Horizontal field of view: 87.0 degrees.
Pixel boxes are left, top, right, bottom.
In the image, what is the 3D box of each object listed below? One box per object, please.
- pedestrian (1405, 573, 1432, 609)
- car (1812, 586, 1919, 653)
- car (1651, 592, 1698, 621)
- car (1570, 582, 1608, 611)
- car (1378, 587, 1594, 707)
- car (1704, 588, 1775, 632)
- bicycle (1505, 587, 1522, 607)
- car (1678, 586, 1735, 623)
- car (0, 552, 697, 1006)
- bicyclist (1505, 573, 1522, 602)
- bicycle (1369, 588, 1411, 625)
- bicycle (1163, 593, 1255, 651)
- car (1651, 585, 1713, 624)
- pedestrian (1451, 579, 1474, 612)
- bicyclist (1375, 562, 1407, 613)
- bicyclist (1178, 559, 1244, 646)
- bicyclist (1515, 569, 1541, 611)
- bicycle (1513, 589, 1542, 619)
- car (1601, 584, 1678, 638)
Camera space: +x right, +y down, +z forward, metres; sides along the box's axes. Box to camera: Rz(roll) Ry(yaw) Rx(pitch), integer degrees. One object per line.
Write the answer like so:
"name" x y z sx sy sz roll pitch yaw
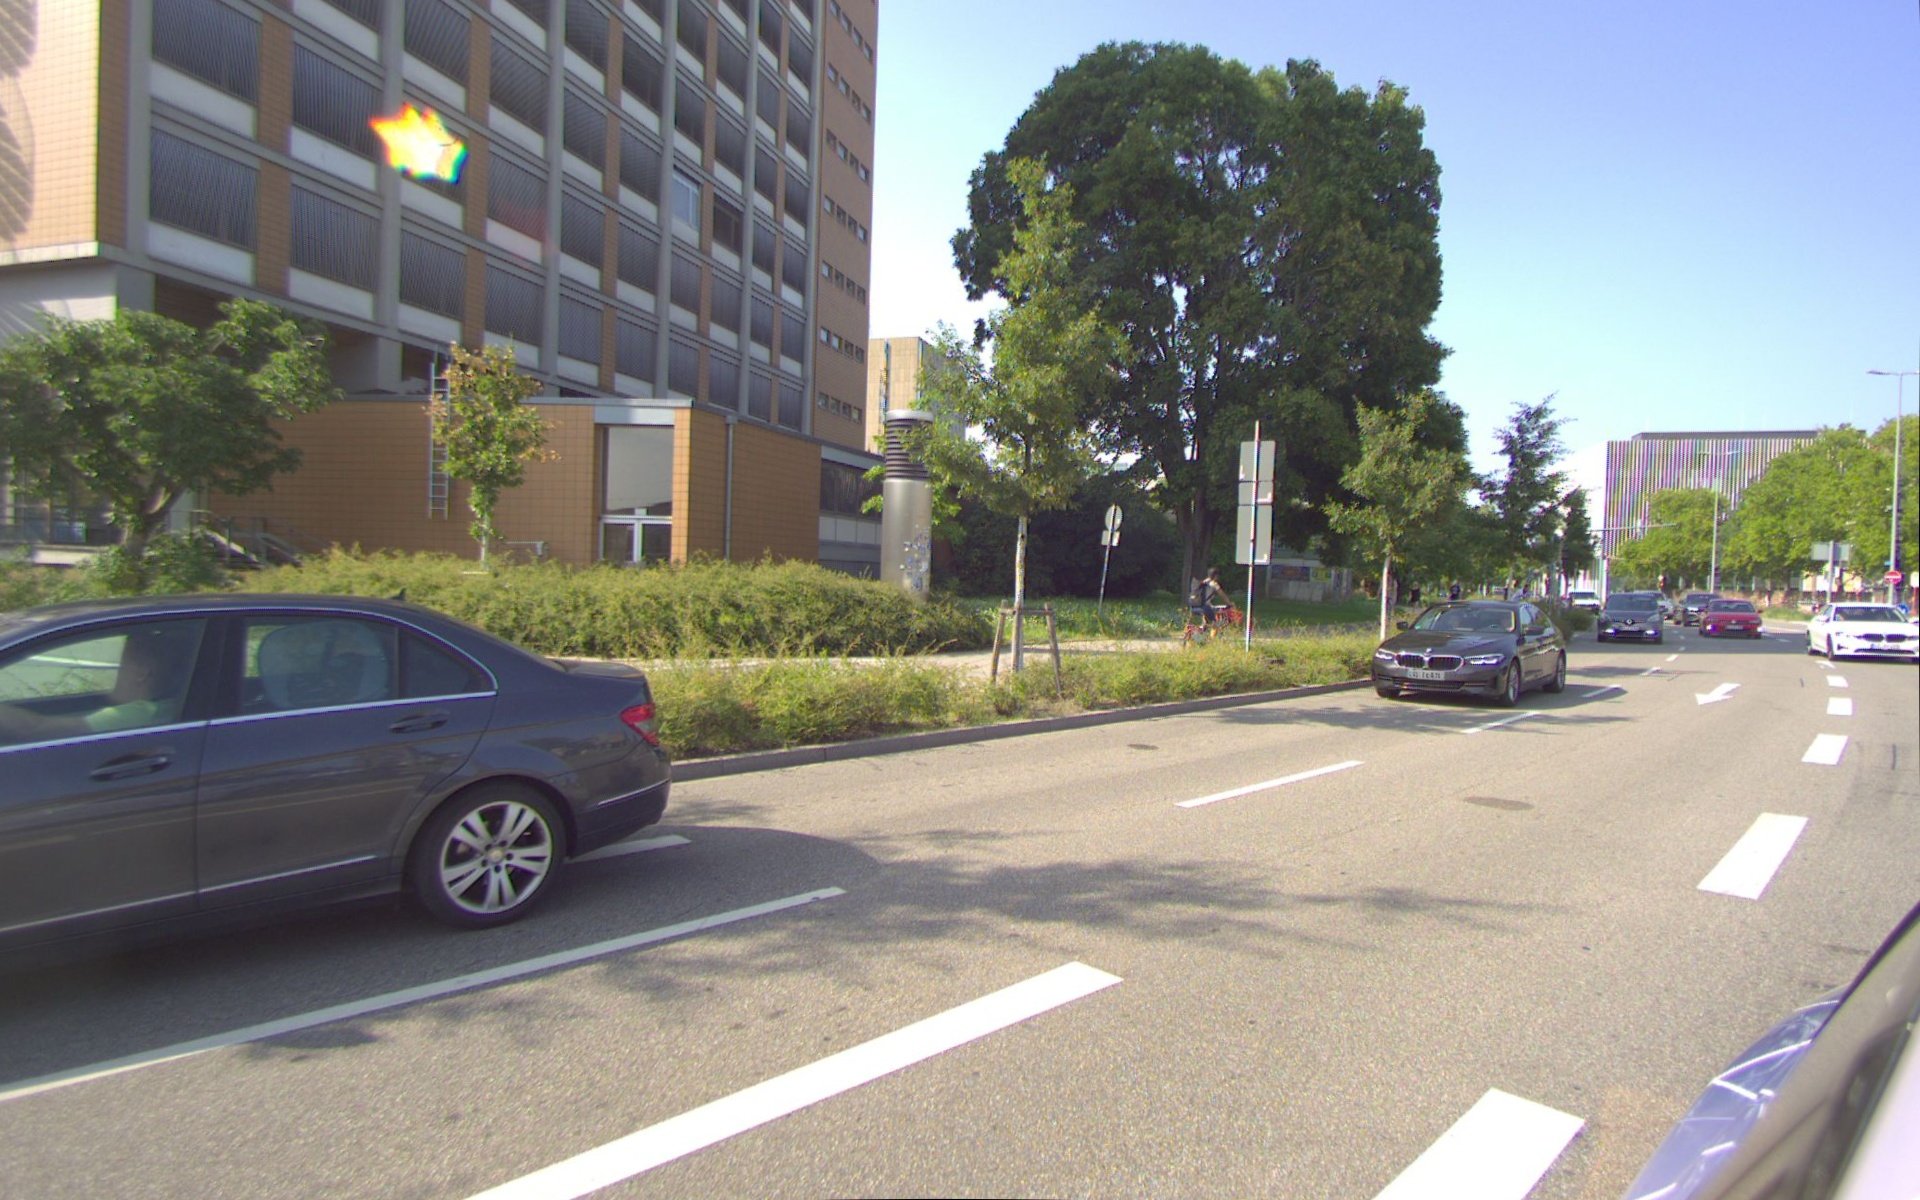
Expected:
"pedestrian" 18.798 -0.364 41.495 0.725 1.461 0.844 3 2 44
"car" 23.180 0.429 25.661 1.771 1.501 4.481 2 2 32
"car" 44.614 0.449 63.274 1.767 1.742 4.488 -1 -1 28
"car" 44.253 -0.272 71.271 1.671 1.966 4.334 2 2 25
"car" 8.165 0.613 15.489 1.683 1.510 4.599 3 2 43
"car" 29.415 0.348 38.275 1.676 1.510 4.321 3 2 32
"bicycle" 32.860 -0.165 60.104 0.766 1.131 2.282 2 1 27
"car" 37.539 0.207 50.997 1.769 1.713 4.485 2 2 30
"car" -3.426 0.549 4.078 4.300 1.460 1.684 1 1 -44
"bicyclist" 32.878 -0.735 60.121 0.766 1.697 0.915 2 1 27
"bicycle" 13.865 0.190 32.591 0.768 1.131 2.275 2 1 35
"bicycle" 4.566 0.379 18.490 1.889 0.971 0.720 0 2 -43
"car" 32.280 0.217 45.336 1.926 1.627 4.481 1 0 32
"pedestrian" 28.407 -0.253 57.233 0.954 1.804 0.991 5 3 33
"bicyclist" 13.890 -0.398 32.598 0.769 1.613 0.912 2 1 35
"bicyclist" 4.583 0.029 18.491 0.987 1.531 0.720 0 2 -43
"bicyclist" 22.706 -0.398 40.449 0.769 1.612 0.912 3 1 35
"bicycle" 22.692 0.146 40.462 0.769 1.131 2.274 3 2 35
"car" 22.527 0.312 33.693 1.769 1.626 4.375 2 2 30
